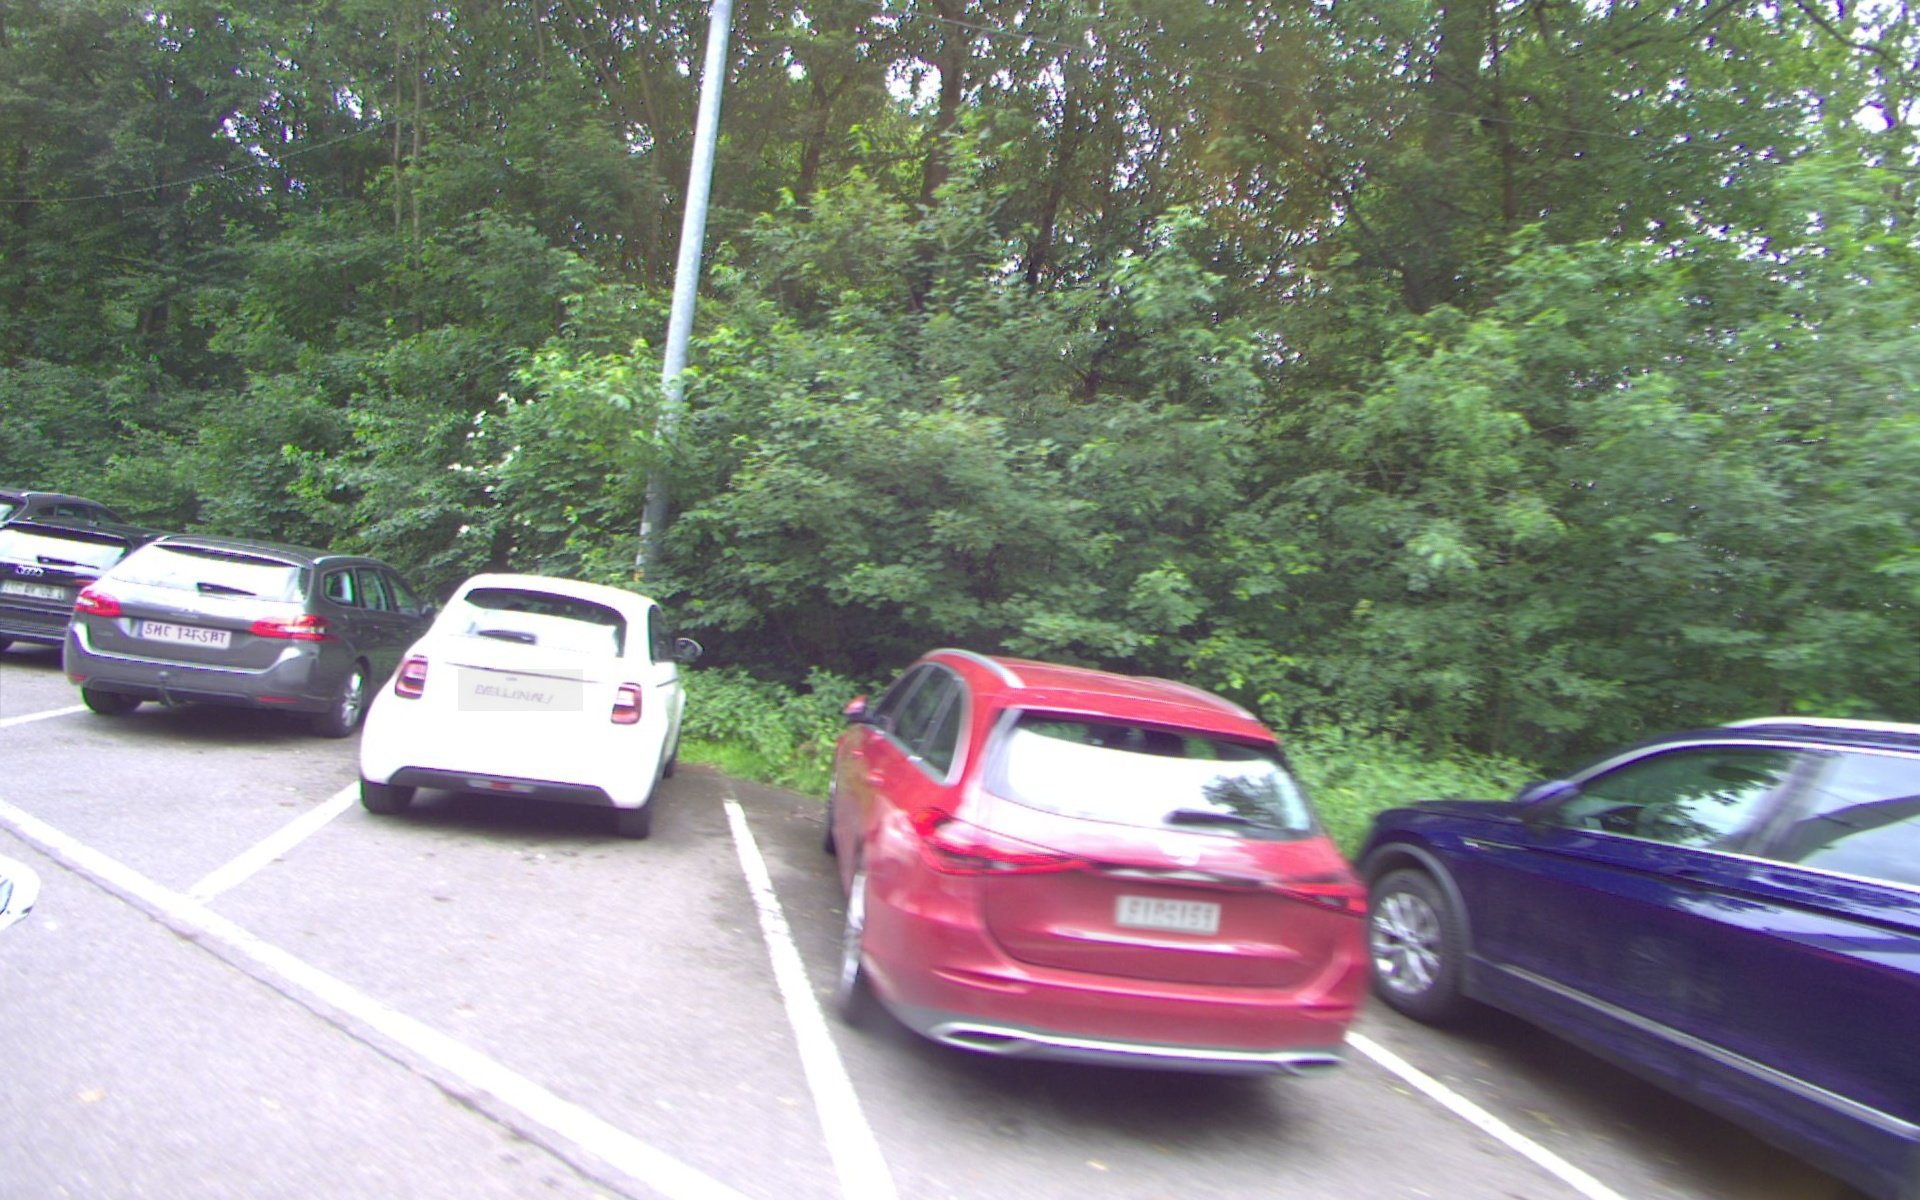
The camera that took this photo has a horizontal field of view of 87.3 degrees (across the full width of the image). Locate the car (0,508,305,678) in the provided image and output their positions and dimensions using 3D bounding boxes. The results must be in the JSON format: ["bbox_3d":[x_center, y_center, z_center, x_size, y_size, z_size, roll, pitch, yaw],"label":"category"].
[{"bbox_3d":[-9.152,-0.118,11.093,1.936,1.393,4.249,8,-2,-16],"label":"car"}]

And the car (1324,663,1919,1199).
[{"bbox_3d":[3.367,1.266,3.659,1.812,1.636,4.113,8,-2,-11],"label":"car"}]

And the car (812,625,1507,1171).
[{"bbox_3d":[0.353,0.995,5.137,1.896,1.430,4.291,8,-2,-10],"label":"car"}]

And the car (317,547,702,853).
[{"bbox_3d":[-2.937,0.593,7.391,1.707,1.522,3.575,8,-2,-12],"label":"car"}]

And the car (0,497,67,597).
[{"bbox_3d":[-15.218,-0.920,14.304,1.805,1.484,3.994,8,-1,-10],"label":"car"}]

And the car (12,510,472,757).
[{"bbox_3d":[-5.879,0.250,8.963,1.777,1.474,4.176,8,-2,-14],"label":"car"}]

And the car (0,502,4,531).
[{"bbox_3d":[-18.042,-1.207,16.286,1.881,1.438,3.990,8,-2,-15],"label":"car"}]

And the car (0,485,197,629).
[{"bbox_3d":[-12.462,-0.631,13.429,1.935,1.655,4.252,8,-2,-14],"label":"car"}]
